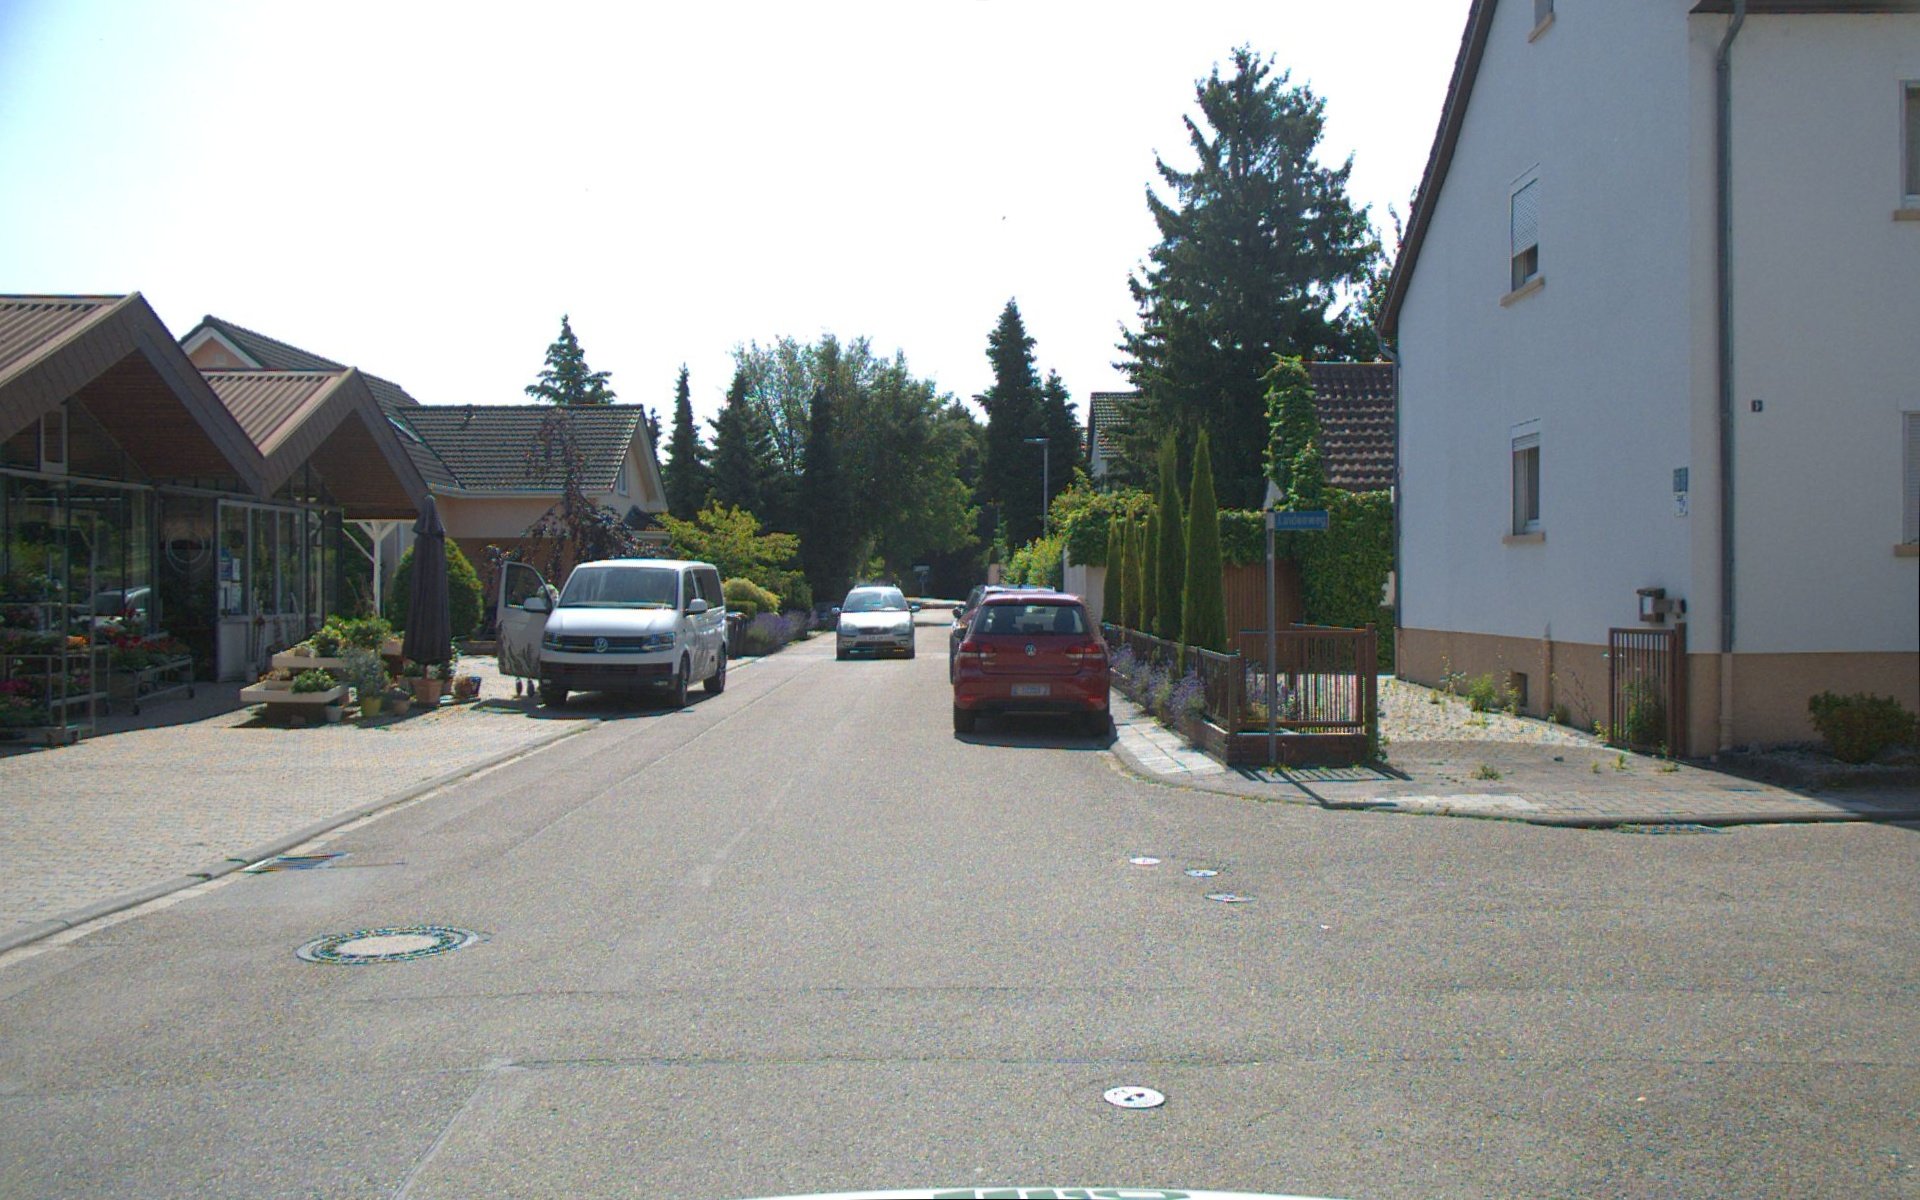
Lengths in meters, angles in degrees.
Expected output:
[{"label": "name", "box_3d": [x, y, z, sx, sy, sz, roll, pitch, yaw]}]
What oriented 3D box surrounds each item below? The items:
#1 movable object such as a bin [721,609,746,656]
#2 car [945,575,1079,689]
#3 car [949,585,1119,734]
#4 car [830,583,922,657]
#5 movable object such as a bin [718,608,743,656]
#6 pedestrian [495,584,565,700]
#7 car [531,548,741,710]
[{"label": "movable object such as a bin", "box_3d": [-5.071, 0.725, 37.070, 0.484, 1.042, 0.447, -1, 0, 0]}, {"label": "car", "box_3d": [0.737, 0.449, 25.952, 1.786, 1.643, 3.998, 0, 0, -3]}, {"label": "car", "box_3d": [0.878, 0.610, 19.169, 1.738, 1.505, 4.002, 1, 0, 3]}, {"label": "car", "box_3d": [-1.788, 0.400, 36.498, 1.716, 1.513, 4.376, -1, 0, 1]}, {"label": "movable object such as a bin", "box_3d": [-5.079, 0.712, 36.592, 0.484, 1.042, 0.447, -1, 0, 0]}, {"label": "pedestrian", "box_3d": [-5.981, 0.570, 23.014, 0.704, 1.565, 0.640, 1, 1, 33]}, {"label": "car", "box_3d": [-4.443, 0.352, 23.463, 1.889, 2.049, 4.897, 0, 0, 1]}]
